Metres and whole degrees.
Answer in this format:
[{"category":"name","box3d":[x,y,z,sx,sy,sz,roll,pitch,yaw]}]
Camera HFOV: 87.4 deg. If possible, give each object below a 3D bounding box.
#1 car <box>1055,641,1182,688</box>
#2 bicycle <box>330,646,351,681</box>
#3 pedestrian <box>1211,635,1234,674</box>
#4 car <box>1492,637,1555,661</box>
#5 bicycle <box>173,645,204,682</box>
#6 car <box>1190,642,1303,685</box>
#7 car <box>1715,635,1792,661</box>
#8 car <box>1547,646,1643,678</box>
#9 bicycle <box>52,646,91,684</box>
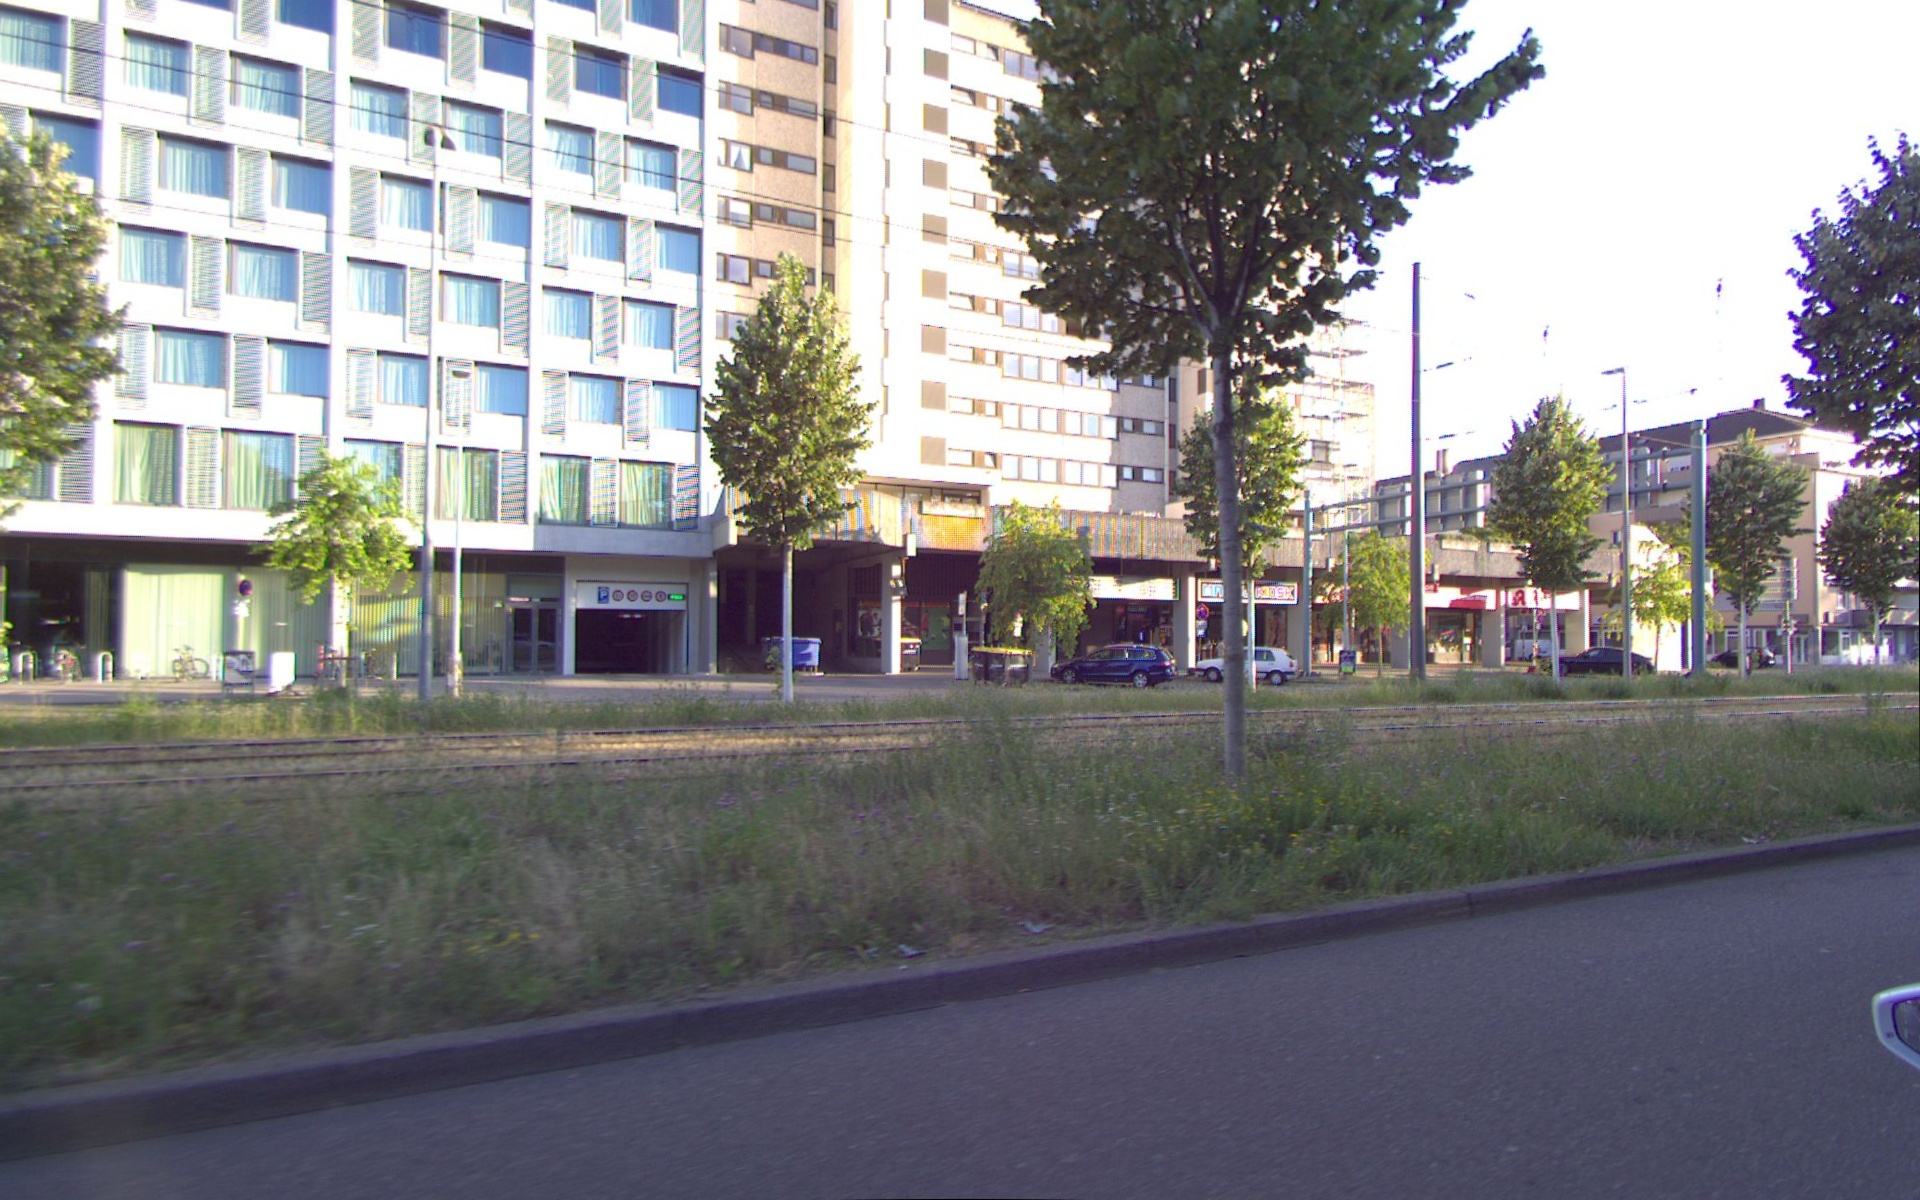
[{"category":"car","box3d":[5.827,2.325,36.901,4.205,1.611,2.008,0,-2,25]},{"category":"bicycle","box3d":[-19.342,1.962,31.382,0.416,1.033,1.780,1,-2,-28]},{"category":"pedestrian","box3d":[11.595,2.407,44.364,0.652,1.683,0.662,1,1,-24]},{"category":"car","box3d":[49.997,4.355,89.186,2.138,2.016,4.473,1,-2,-25]},{"category":"bicycle","box3d":[-23.034,1.880,29.993,0.416,1.033,1.780,1,-2,-28]},{"category":"car","box3d":[11.369,2.484,39.866,4.054,1.455,1.823,1,0,27]},{"category":"car","box3d":[58.738,3.523,74.378,2.162,1.870,3.922,1,-2,-26]},{"category":"car","box3d":[30.785,2.975,48.817,3.659,1.469,1.744,-1,-3,23]},{"category":"bicycle","box3d":[-25.402,1.839,28.725,0.416,1.033,1.735,1,-2,-28]}]
